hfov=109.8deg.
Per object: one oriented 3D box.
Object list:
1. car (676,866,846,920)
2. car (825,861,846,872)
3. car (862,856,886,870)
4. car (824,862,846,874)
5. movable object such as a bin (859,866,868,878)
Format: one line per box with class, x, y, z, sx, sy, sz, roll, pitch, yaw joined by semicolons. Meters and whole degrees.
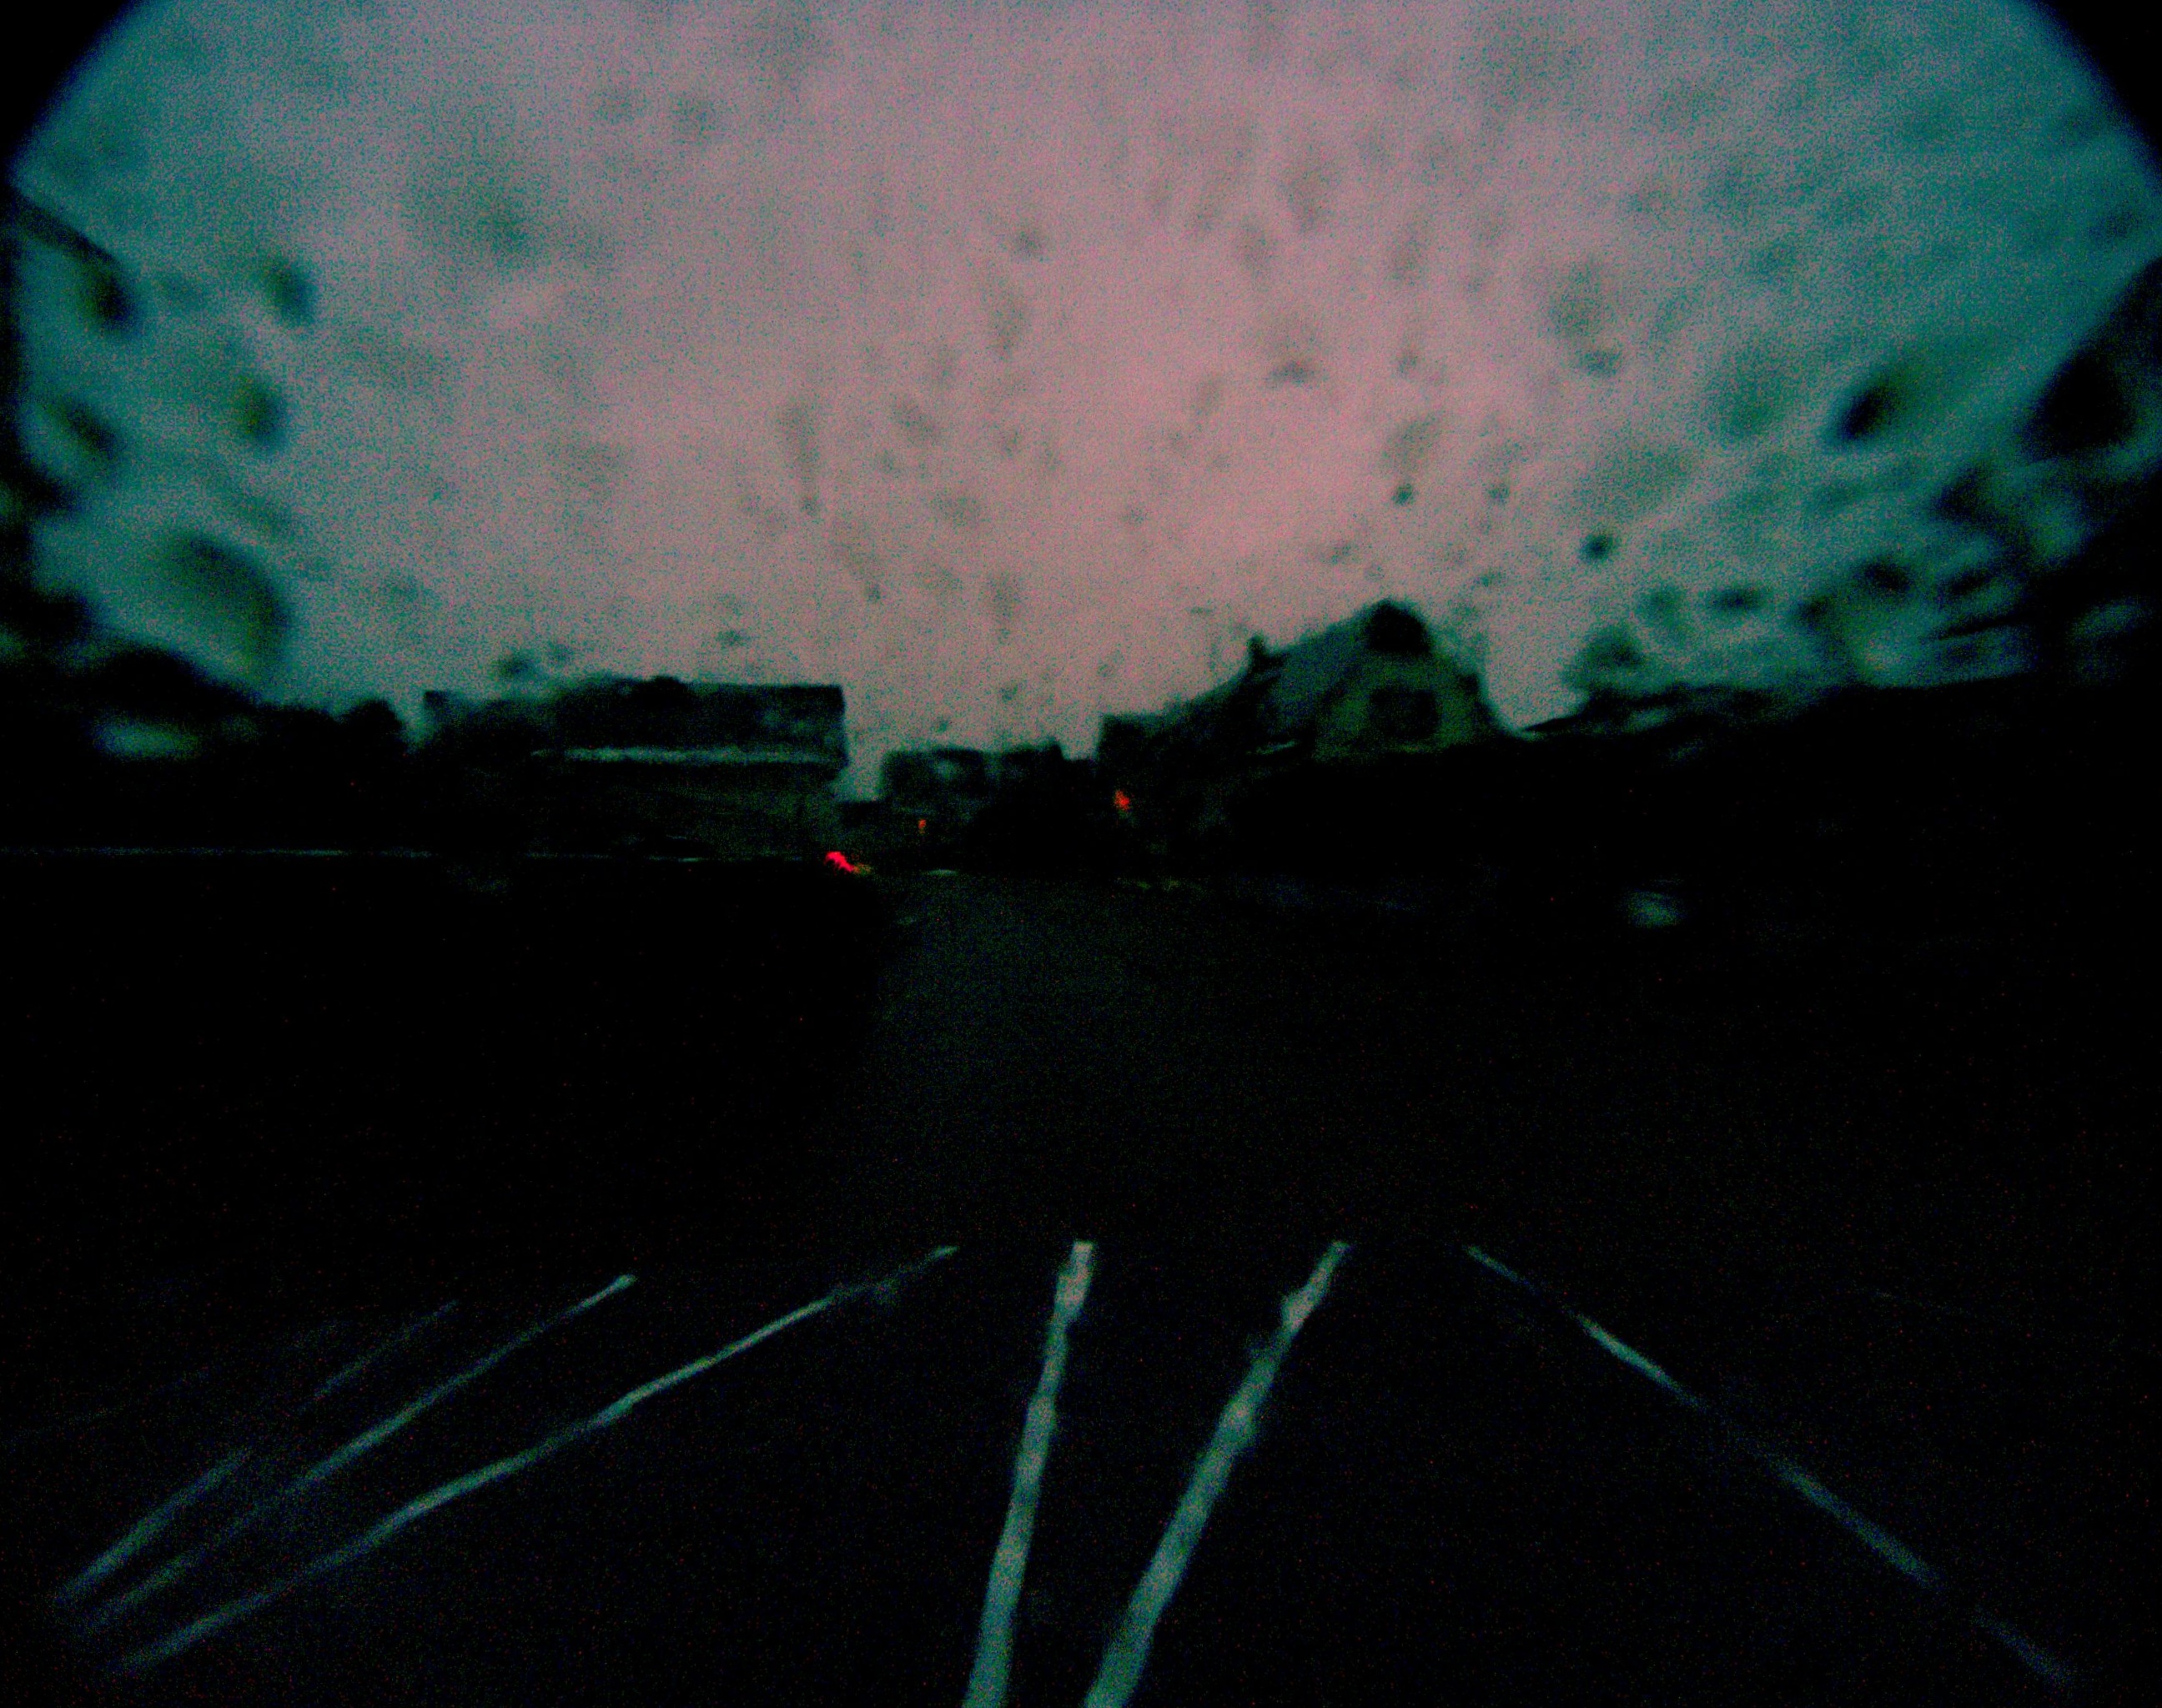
car;-9.650;1.149;23.331;4.521;1.435;1.998;-1;0;-14
car;-33.427;1.757;103.555;1.742;1.435;4.429;-2;0;-30
car;-23.326;1.056;85.684;1.675;1.401;3.905;-3;0;-29
car;-31.762;1.767;98.152;1.782;1.486;4.370;-1;-1;-30
movable object such as a bin;-17.608;1.473;61.586;0.617;0.941;0.593;1;1;-23
